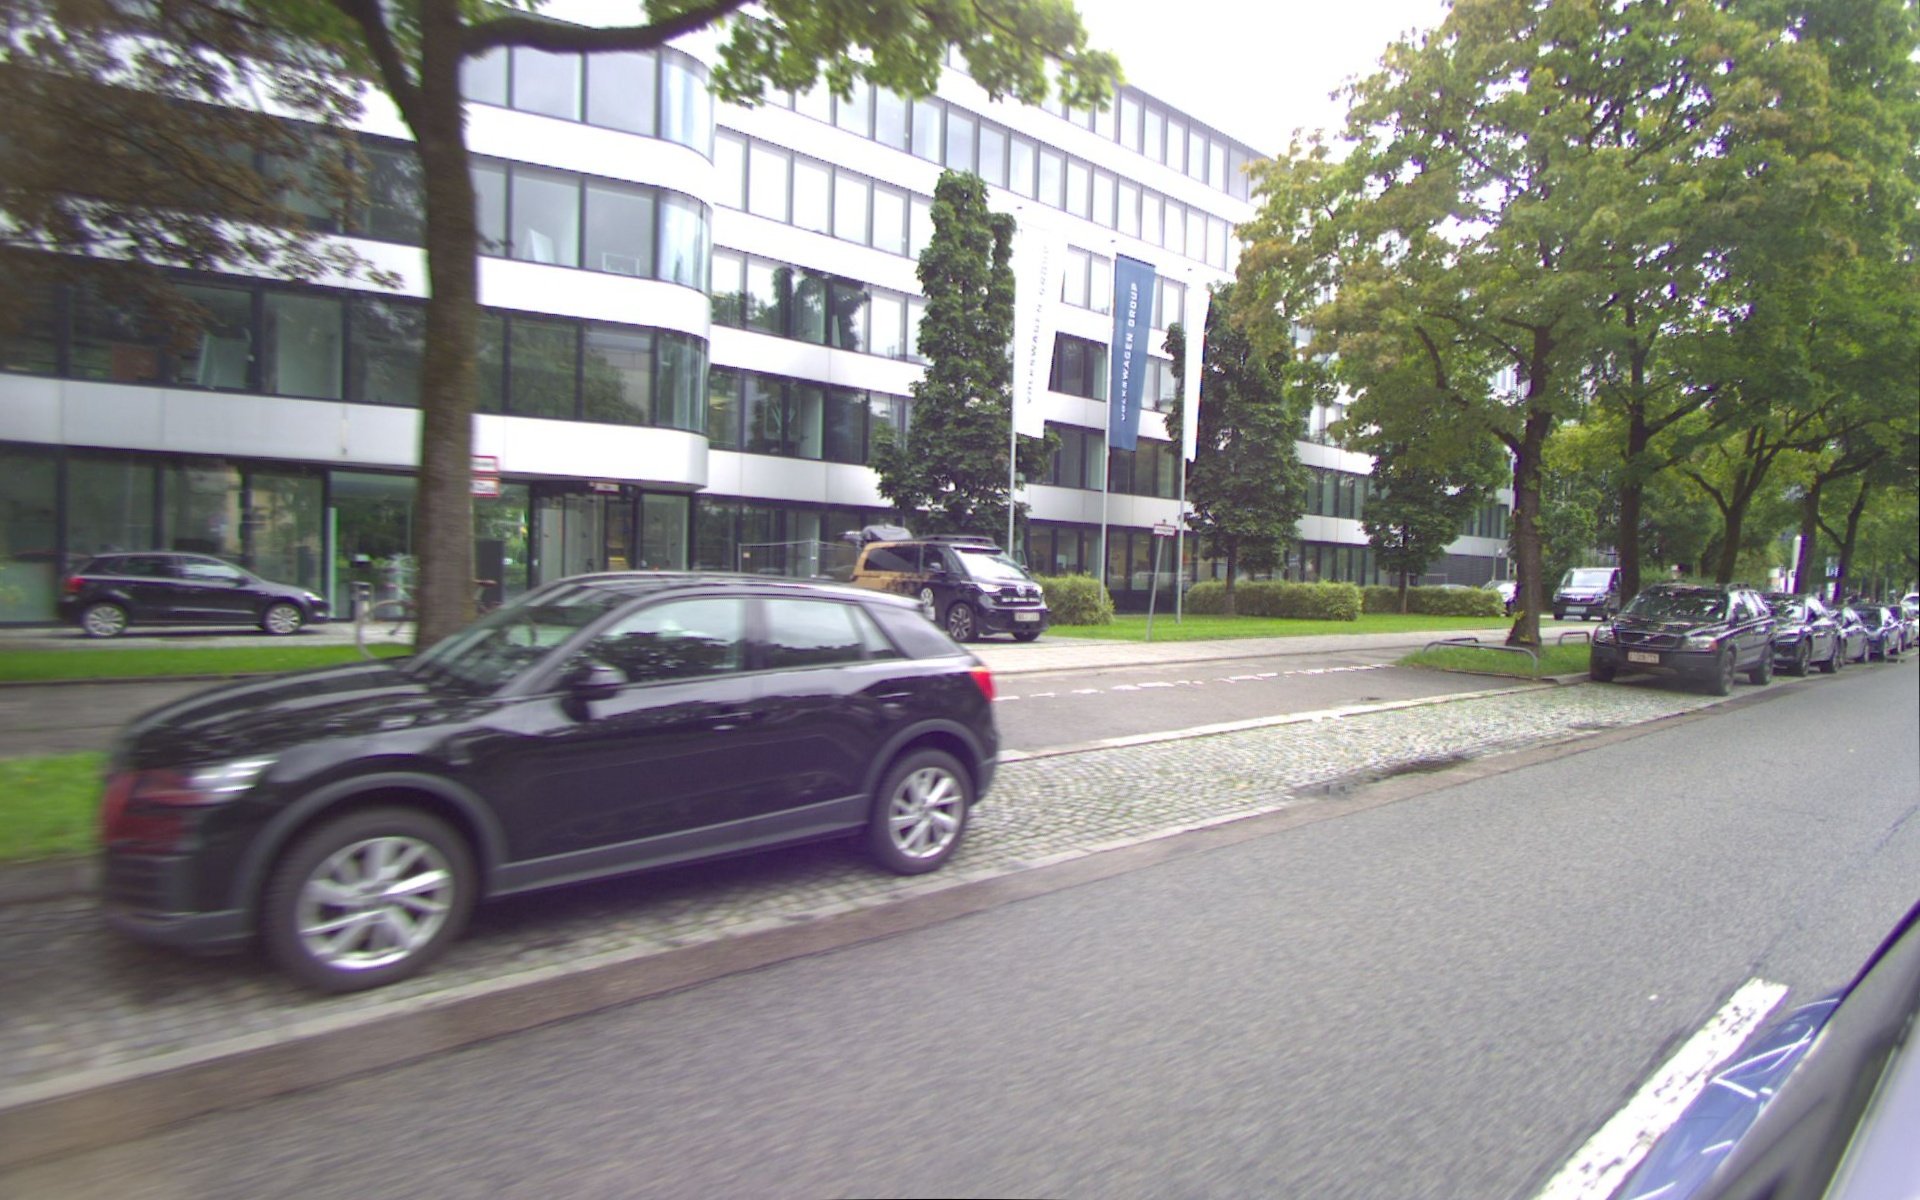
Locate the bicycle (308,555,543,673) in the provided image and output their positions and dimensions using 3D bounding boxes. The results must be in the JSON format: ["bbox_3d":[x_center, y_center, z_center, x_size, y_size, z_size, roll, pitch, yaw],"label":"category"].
[{"bbox_3d":[-5.916,0.132,11.292,2.207,1.197,0.750,0,2,-41],"label":"bicycle"}]

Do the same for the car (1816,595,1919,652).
[{"bbox_3d":[26.056,0.622,28.958,4.048,1.438,1.705,0,3,-40],"label":"car"}]

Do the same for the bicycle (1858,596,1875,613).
[{"bbox_3d":[70.195,0.329,78.390,1.826,1.241,0.532,3,3,-37],"label":"bicycle"}]

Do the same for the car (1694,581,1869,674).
[{"bbox_3d":[17.216,0.509,21.133,4.712,1.696,1.818,0,2,-39],"label":"car"}]

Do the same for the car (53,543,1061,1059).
[{"bbox_3d":[-1.650,0.581,5.083,4.207,1.529,1.785,0,4,-39],"label":"car"}]

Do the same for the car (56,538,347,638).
[{"bbox_3d":[-13.392,-0.233,18.009,3.978,1.567,2.022,0,2,-41],"label":"car"}]

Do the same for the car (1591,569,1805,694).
[{"bbox_3d":[12.772,0.455,17.393,4.776,1.822,1.897,0,2,-41],"label":"car"}]

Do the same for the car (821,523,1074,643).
[{"bbox_3d":[-0.424,-0.404,20.621,2.109,2.109,5.481,0,2,-41],"label":"car"}]

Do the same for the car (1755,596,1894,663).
[{"bbox_3d":[21.223,0.665,24.795,4.430,1.425,1.707,0,2,-38],"label":"car"}]

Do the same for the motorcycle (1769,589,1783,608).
[{"bbox_3d":[60.635,-0.113,75.199,0.546,1.335,2.049,2,2,34],"label":"motorcycle"}]

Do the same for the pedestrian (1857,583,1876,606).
[{"bbox_3d":[68.252,-0.403,76.225,0.735,1.735,0.787,1,1,-26],"label":"pedestrian"}]

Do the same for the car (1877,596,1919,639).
[{"bbox_3d":[34.174,0.603,36.036,4.158,1.414,1.705,0,3,-40],"label":"car"}]

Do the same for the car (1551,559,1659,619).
[{"bbox_3d":[27.343,-0.457,42.818,6.161,2.335,2.268,0,3,-43],"label":"car"}]

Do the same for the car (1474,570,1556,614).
[{"bbox_3d":[24.748,-0.359,45.045,4.396,1.840,1.845,0,3,-43],"label":"car"}]

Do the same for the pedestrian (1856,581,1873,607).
[{"bbox_3d":[68.818,-0.466,77.009,0.733,1.923,0.655,1,1,-26],"label":"pedestrian"}]

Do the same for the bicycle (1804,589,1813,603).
[{"bbox_3d":[74.696,-0.316,89.085,0.510,1.203,2.112,3,2,38],"label":"bicycle"}]

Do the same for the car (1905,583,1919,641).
[{"bbox_3d":[39.075,0.489,39.879,5.457,2.184,1.992,0,2,-40],"label":"car"}]

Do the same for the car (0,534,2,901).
[{"bbox_3d":[-4.910,0.550,2.239,3.951,1.519,1.679,0,4,-41],"label":"car"}]

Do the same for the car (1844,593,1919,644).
[{"bbox_3d":[29.834,0.563,32.400,3.908,1.464,1.705,0,3,-40],"label":"car"}]

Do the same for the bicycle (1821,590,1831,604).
[{"bbox_3d":[75.224,-0.292,87.857,1.922,1.203,0.446,0,2,-44],"label":"bicycle"}]
